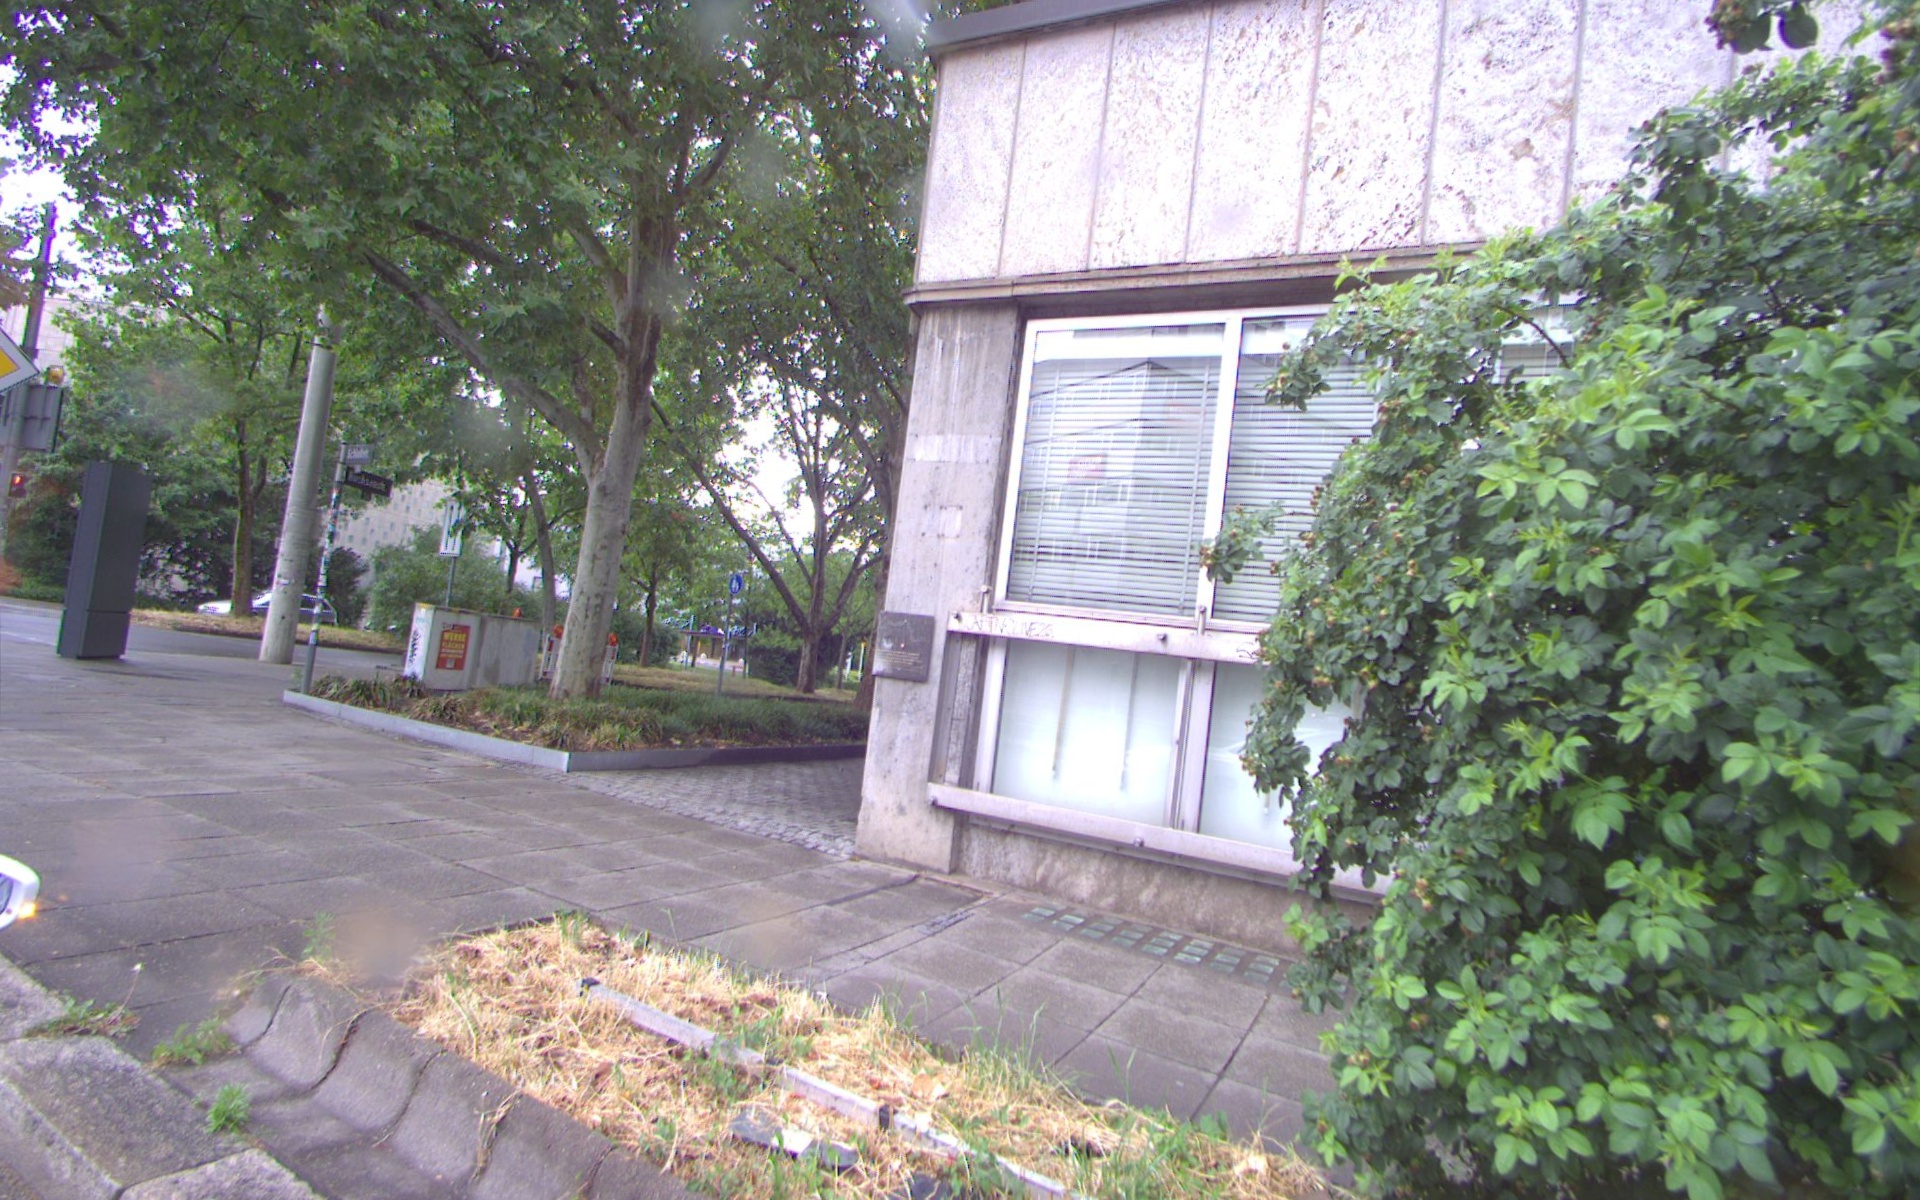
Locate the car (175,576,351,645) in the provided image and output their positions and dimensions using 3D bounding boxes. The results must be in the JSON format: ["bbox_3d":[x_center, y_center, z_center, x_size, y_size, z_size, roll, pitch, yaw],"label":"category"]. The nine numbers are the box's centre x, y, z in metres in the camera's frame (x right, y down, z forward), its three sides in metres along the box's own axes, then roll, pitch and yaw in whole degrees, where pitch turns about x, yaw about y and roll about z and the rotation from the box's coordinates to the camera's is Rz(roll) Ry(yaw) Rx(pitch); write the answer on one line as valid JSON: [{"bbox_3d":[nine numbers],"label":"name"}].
[{"bbox_3d":[-21.964,0.385,31.891,1.964,1.456,4.007,6,-6,25],"label":"car"}]
